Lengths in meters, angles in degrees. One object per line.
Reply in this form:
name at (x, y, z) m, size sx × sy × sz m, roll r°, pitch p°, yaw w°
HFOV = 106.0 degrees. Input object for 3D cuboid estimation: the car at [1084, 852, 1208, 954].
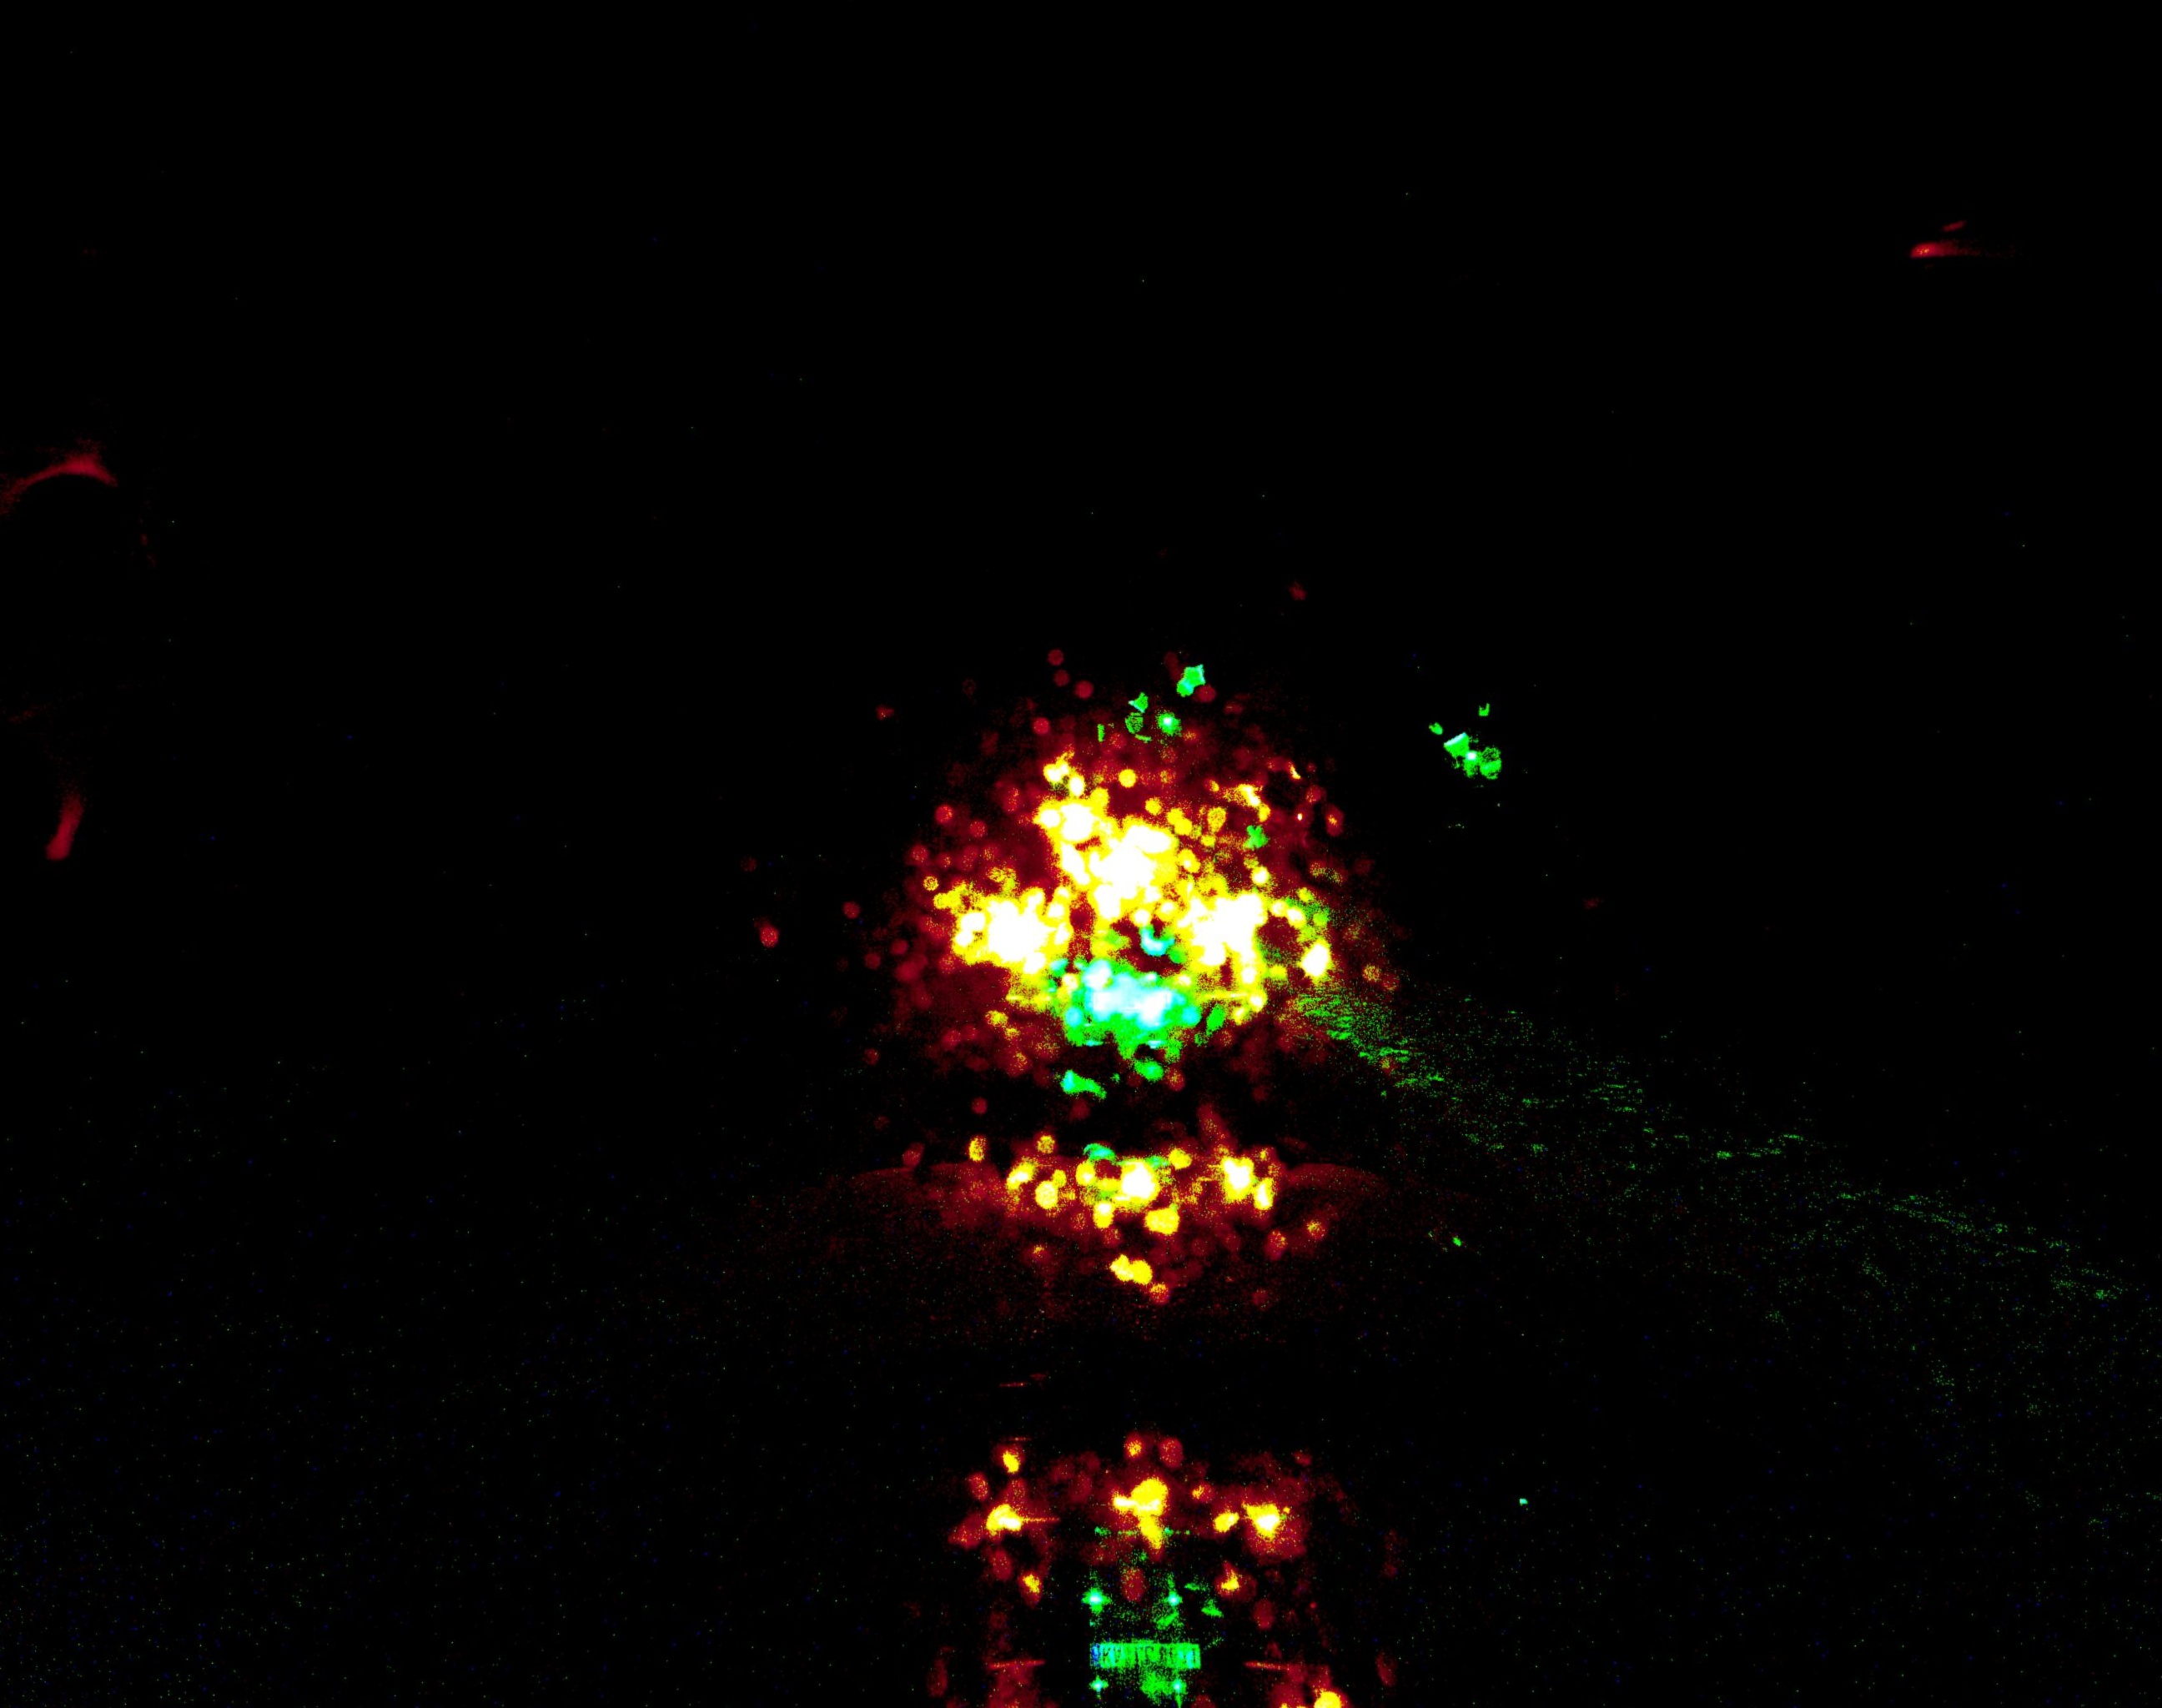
car at (1.117, 0.703, 13.723) m, size 1.735 × 1.415 × 4.006 m, roll -2°, pitch 0°, yaw 5°

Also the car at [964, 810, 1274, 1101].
car at (0.322, 0.587, 6.730) m, size 1.783 × 1.681 × 3.908 m, roll -1°, pitch 0°, yaw 3°
